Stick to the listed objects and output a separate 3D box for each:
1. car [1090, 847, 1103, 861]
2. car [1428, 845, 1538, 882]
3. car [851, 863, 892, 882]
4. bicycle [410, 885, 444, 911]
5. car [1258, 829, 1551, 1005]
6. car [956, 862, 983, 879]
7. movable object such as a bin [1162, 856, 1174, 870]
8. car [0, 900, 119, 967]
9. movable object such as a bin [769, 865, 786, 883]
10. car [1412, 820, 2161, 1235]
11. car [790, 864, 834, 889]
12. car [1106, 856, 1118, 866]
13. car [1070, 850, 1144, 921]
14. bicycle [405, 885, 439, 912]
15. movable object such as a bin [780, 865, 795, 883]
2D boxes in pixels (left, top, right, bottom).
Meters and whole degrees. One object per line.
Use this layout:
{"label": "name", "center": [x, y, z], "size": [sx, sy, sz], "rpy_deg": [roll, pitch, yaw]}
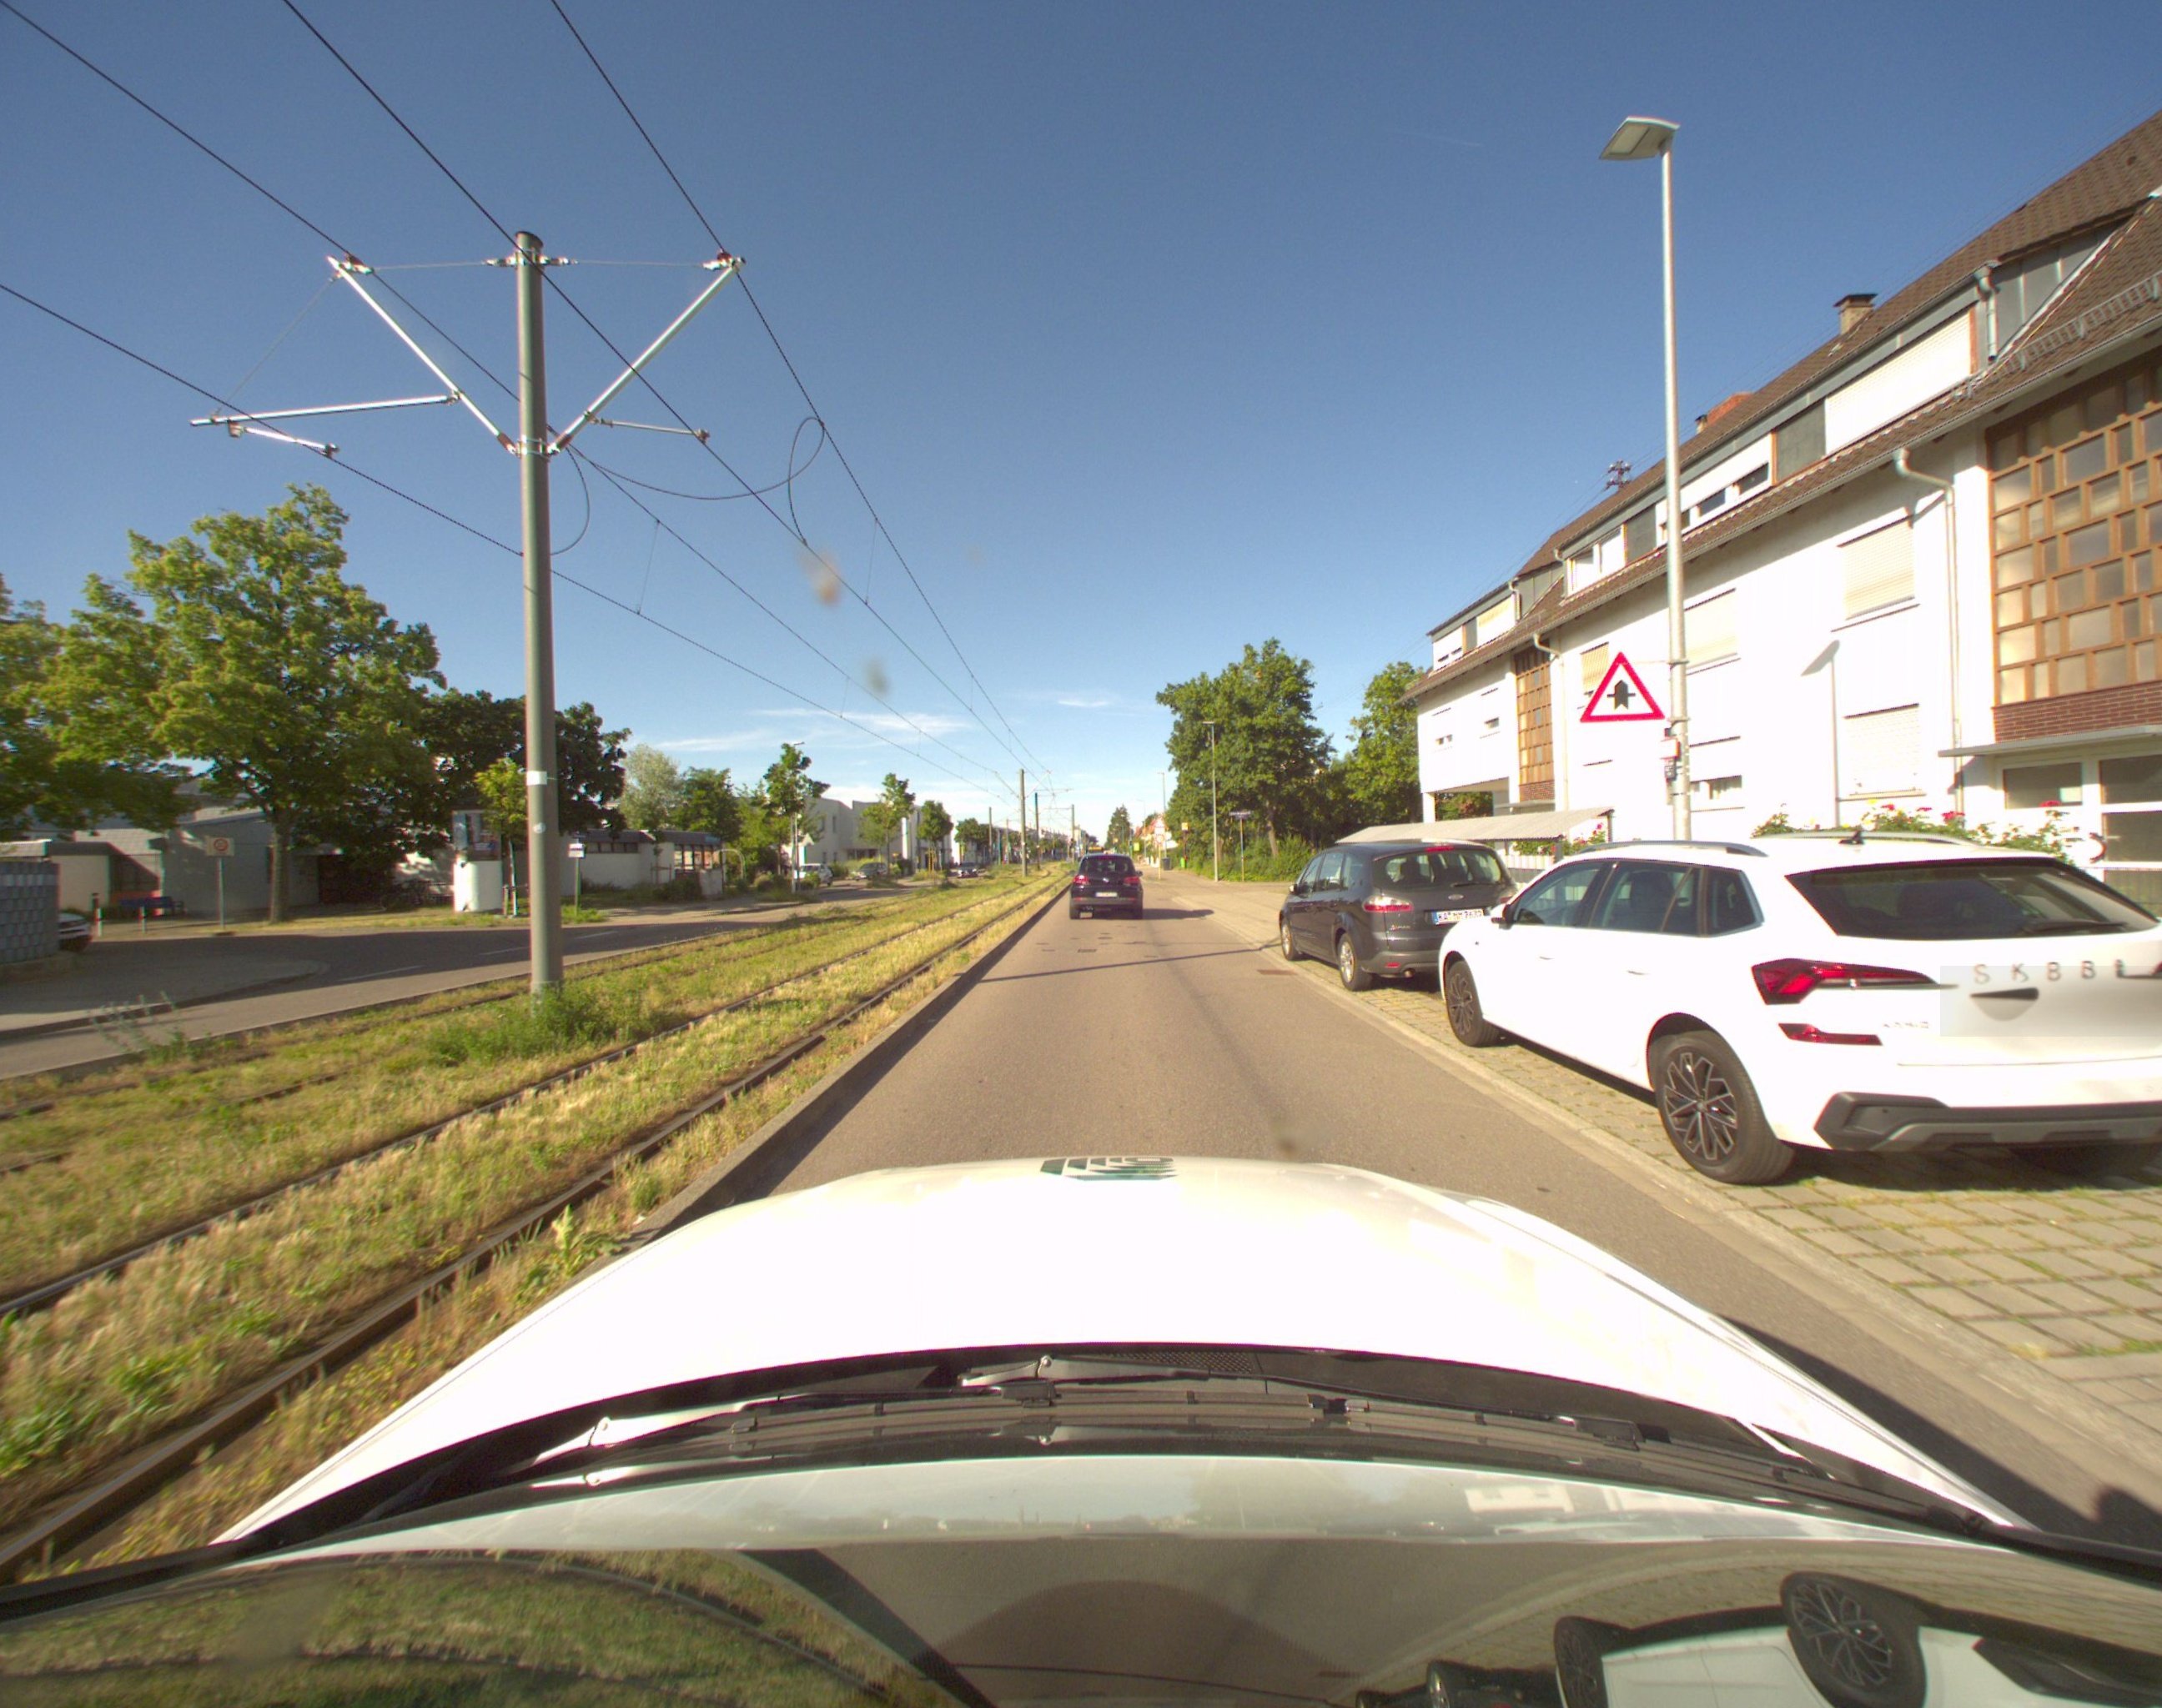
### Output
{"label": "car", "center": [2.969, -0.030, 158.008], "size": [2.385, 2.564, 5.532], "rpy_deg": [-2, 0, 2]}
{"label": "car", "center": [17.810, 0.426, 36.223], "size": [3.986, 1.497, 1.745], "rpy_deg": [-2, 0, 2]}
{"label": "car", "center": [-16.613, 1.434, 64.740], "size": [1.801, 1.461, 4.324], "rpy_deg": [0, 0, 6]}
{"label": "bicycle", "center": [-27.892, 1.865, 34.733], "size": [1.039, 1.059, 0.303], "rpy_deg": [-2, 0, -16]}
{"label": "car", "center": [3.740, 0.617, 10.501], "size": [1.785, 1.628, 4.861], "rpy_deg": [-4, 0, 0]}
{"label": "car", "center": [-9.886, 1.435, 72.458], "size": [1.682, 1.389, 4.388], "rpy_deg": [-4, 0, 1]}
{"label": "movable object such as a bin", "center": [7.273, 0.749, 67.962], "size": [0.971, 1.111, 1.172], "rpy_deg": [-2, 0, 5]}
{"label": "car", "center": [-27.328, 1.997, 20.557], "size": [3.846, 1.429, 1.840], "rpy_deg": [-1, 2, 1]}
{"label": "movable object such as a bin", "center": [-24.182, 1.612, 64.897], "size": [0.660, 1.383, 1.425], "rpy_deg": [0, 0, 9]}
{"label": "car", "center": [3.663, 0.650, 5.090], "size": [1.650, 1.492, 4.163], "rpy_deg": [-2, 0, 3]}
{"label": "car", "center": [-16.943, 1.378, 51.453], "size": [1.539, 1.491, 3.775], "rpy_deg": [0, 0, 0]}
{"label": "car", "center": [5.398, 1.165, 142.287], "size": [1.770, 1.670, 3.999], "rpy_deg": [-2, 0, -1]}
{"label": "car", "center": [0.604, 0.766, 21.451], "size": [1.770, 1.670, 3.998], "rpy_deg": [0, 0, -1]}
{"label": "bicycle", "center": [-27.764, 1.887, 34.330], "size": [1.055, 1.083, 0.303], "rpy_deg": [-2, 0, -17]}
{"label": "movable object such as a bin", "center": [-23.944, 1.629, 66.492], "size": [0.660, 1.433, 1.258], "rpy_deg": [0, 0, 9]}
